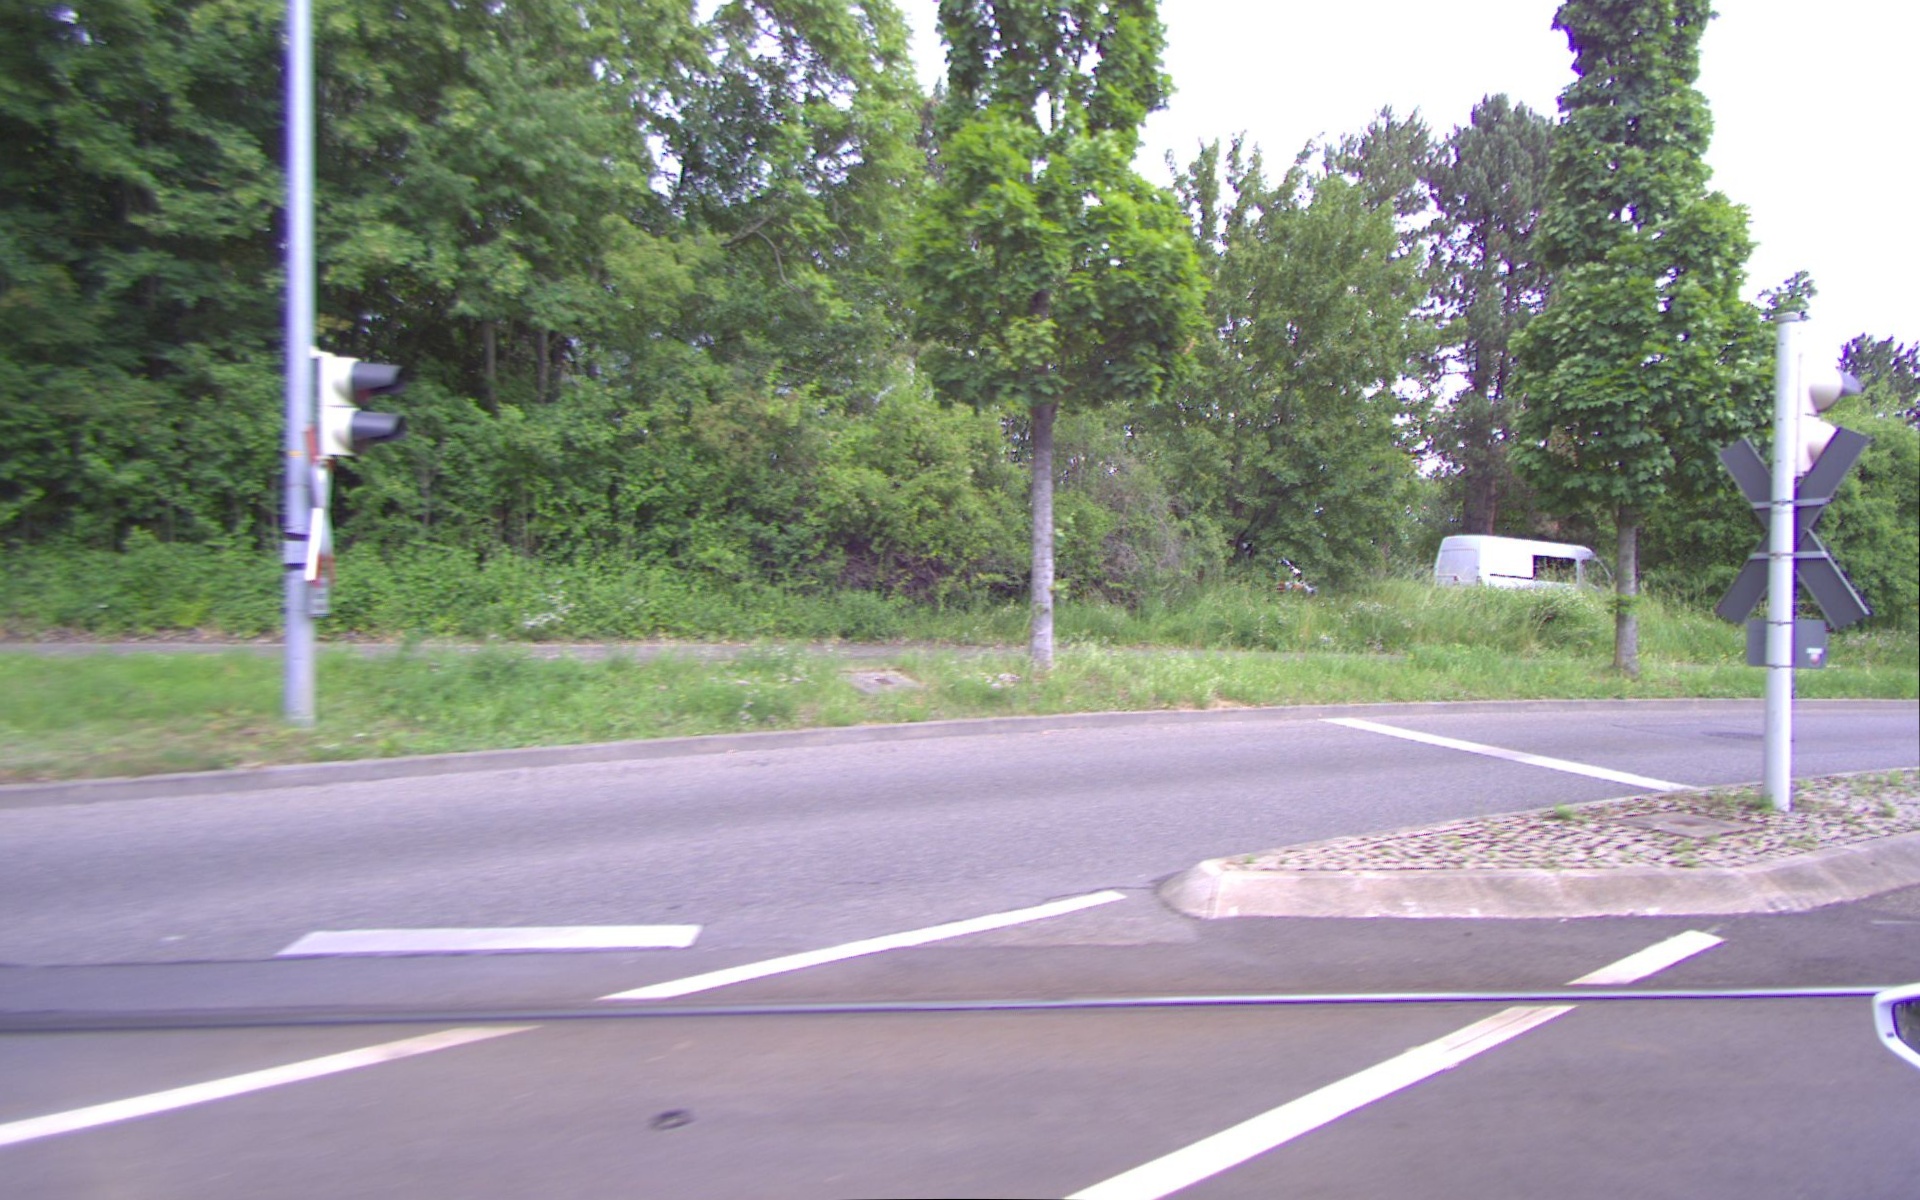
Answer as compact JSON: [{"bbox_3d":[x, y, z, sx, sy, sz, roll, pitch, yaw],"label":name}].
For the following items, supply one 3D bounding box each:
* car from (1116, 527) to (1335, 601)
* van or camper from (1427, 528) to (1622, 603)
[{"bbox_3d":[7.006,-0.928,26.755,5.228,1.748,2.141,1,1,-10],"label":"car"},{"bbox_3d":[15.832,-0.943,28.255,4.547,1.902,1.996,1,1,-11],"label":"van or camper"}]
